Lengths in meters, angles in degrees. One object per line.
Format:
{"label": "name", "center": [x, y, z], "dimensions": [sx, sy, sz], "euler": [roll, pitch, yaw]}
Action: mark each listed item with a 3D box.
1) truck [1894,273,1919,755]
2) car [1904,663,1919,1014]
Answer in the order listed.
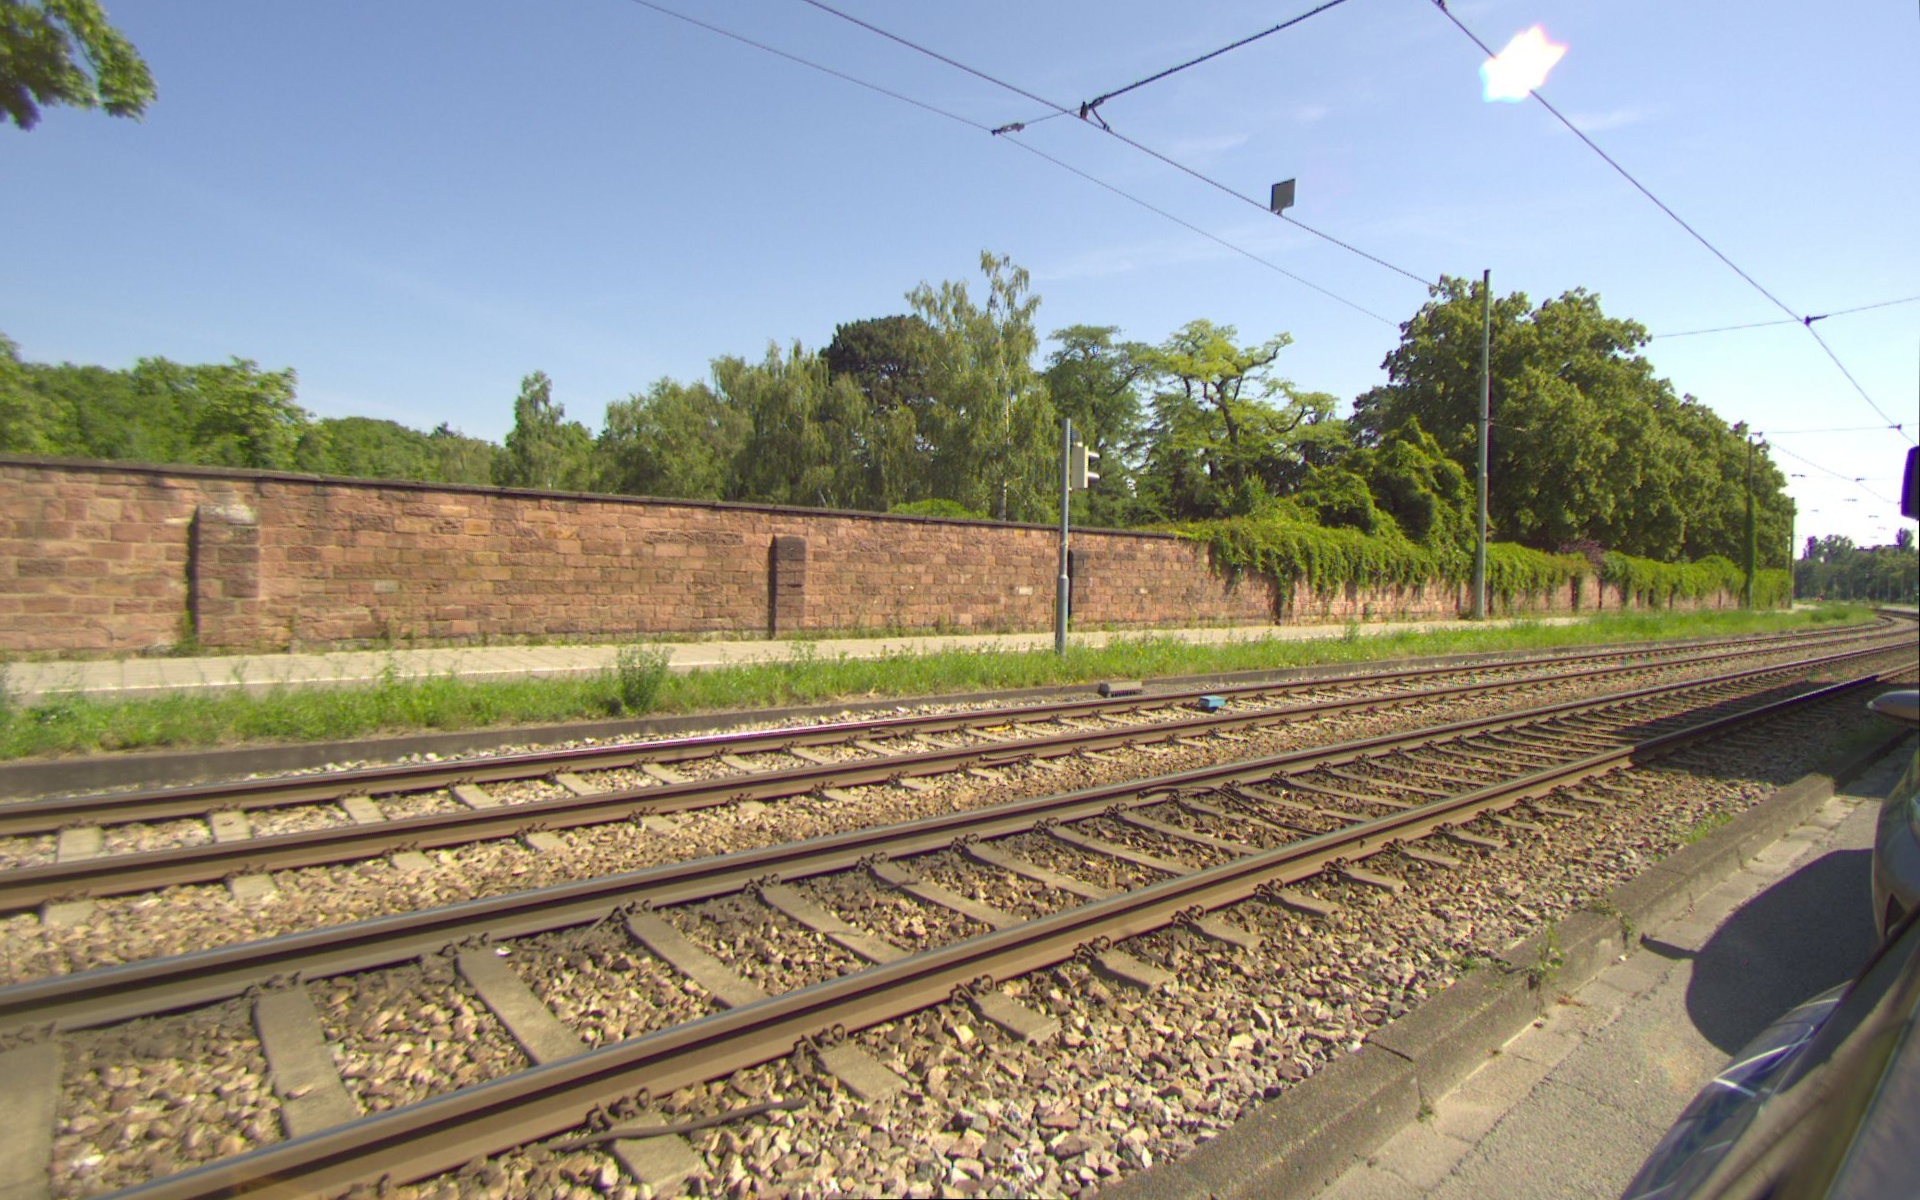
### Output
{"label": "truck", "center": [14.239, -0.655, 12.007], "dimensions": [14.652, 3.927, 2.934], "euler": [0, 2, -41]}
{"label": "car", "center": [5.133, 0.665, 4.026], "dimensions": [3.930, 1.448, 1.573], "euler": [0, 2, -41]}
